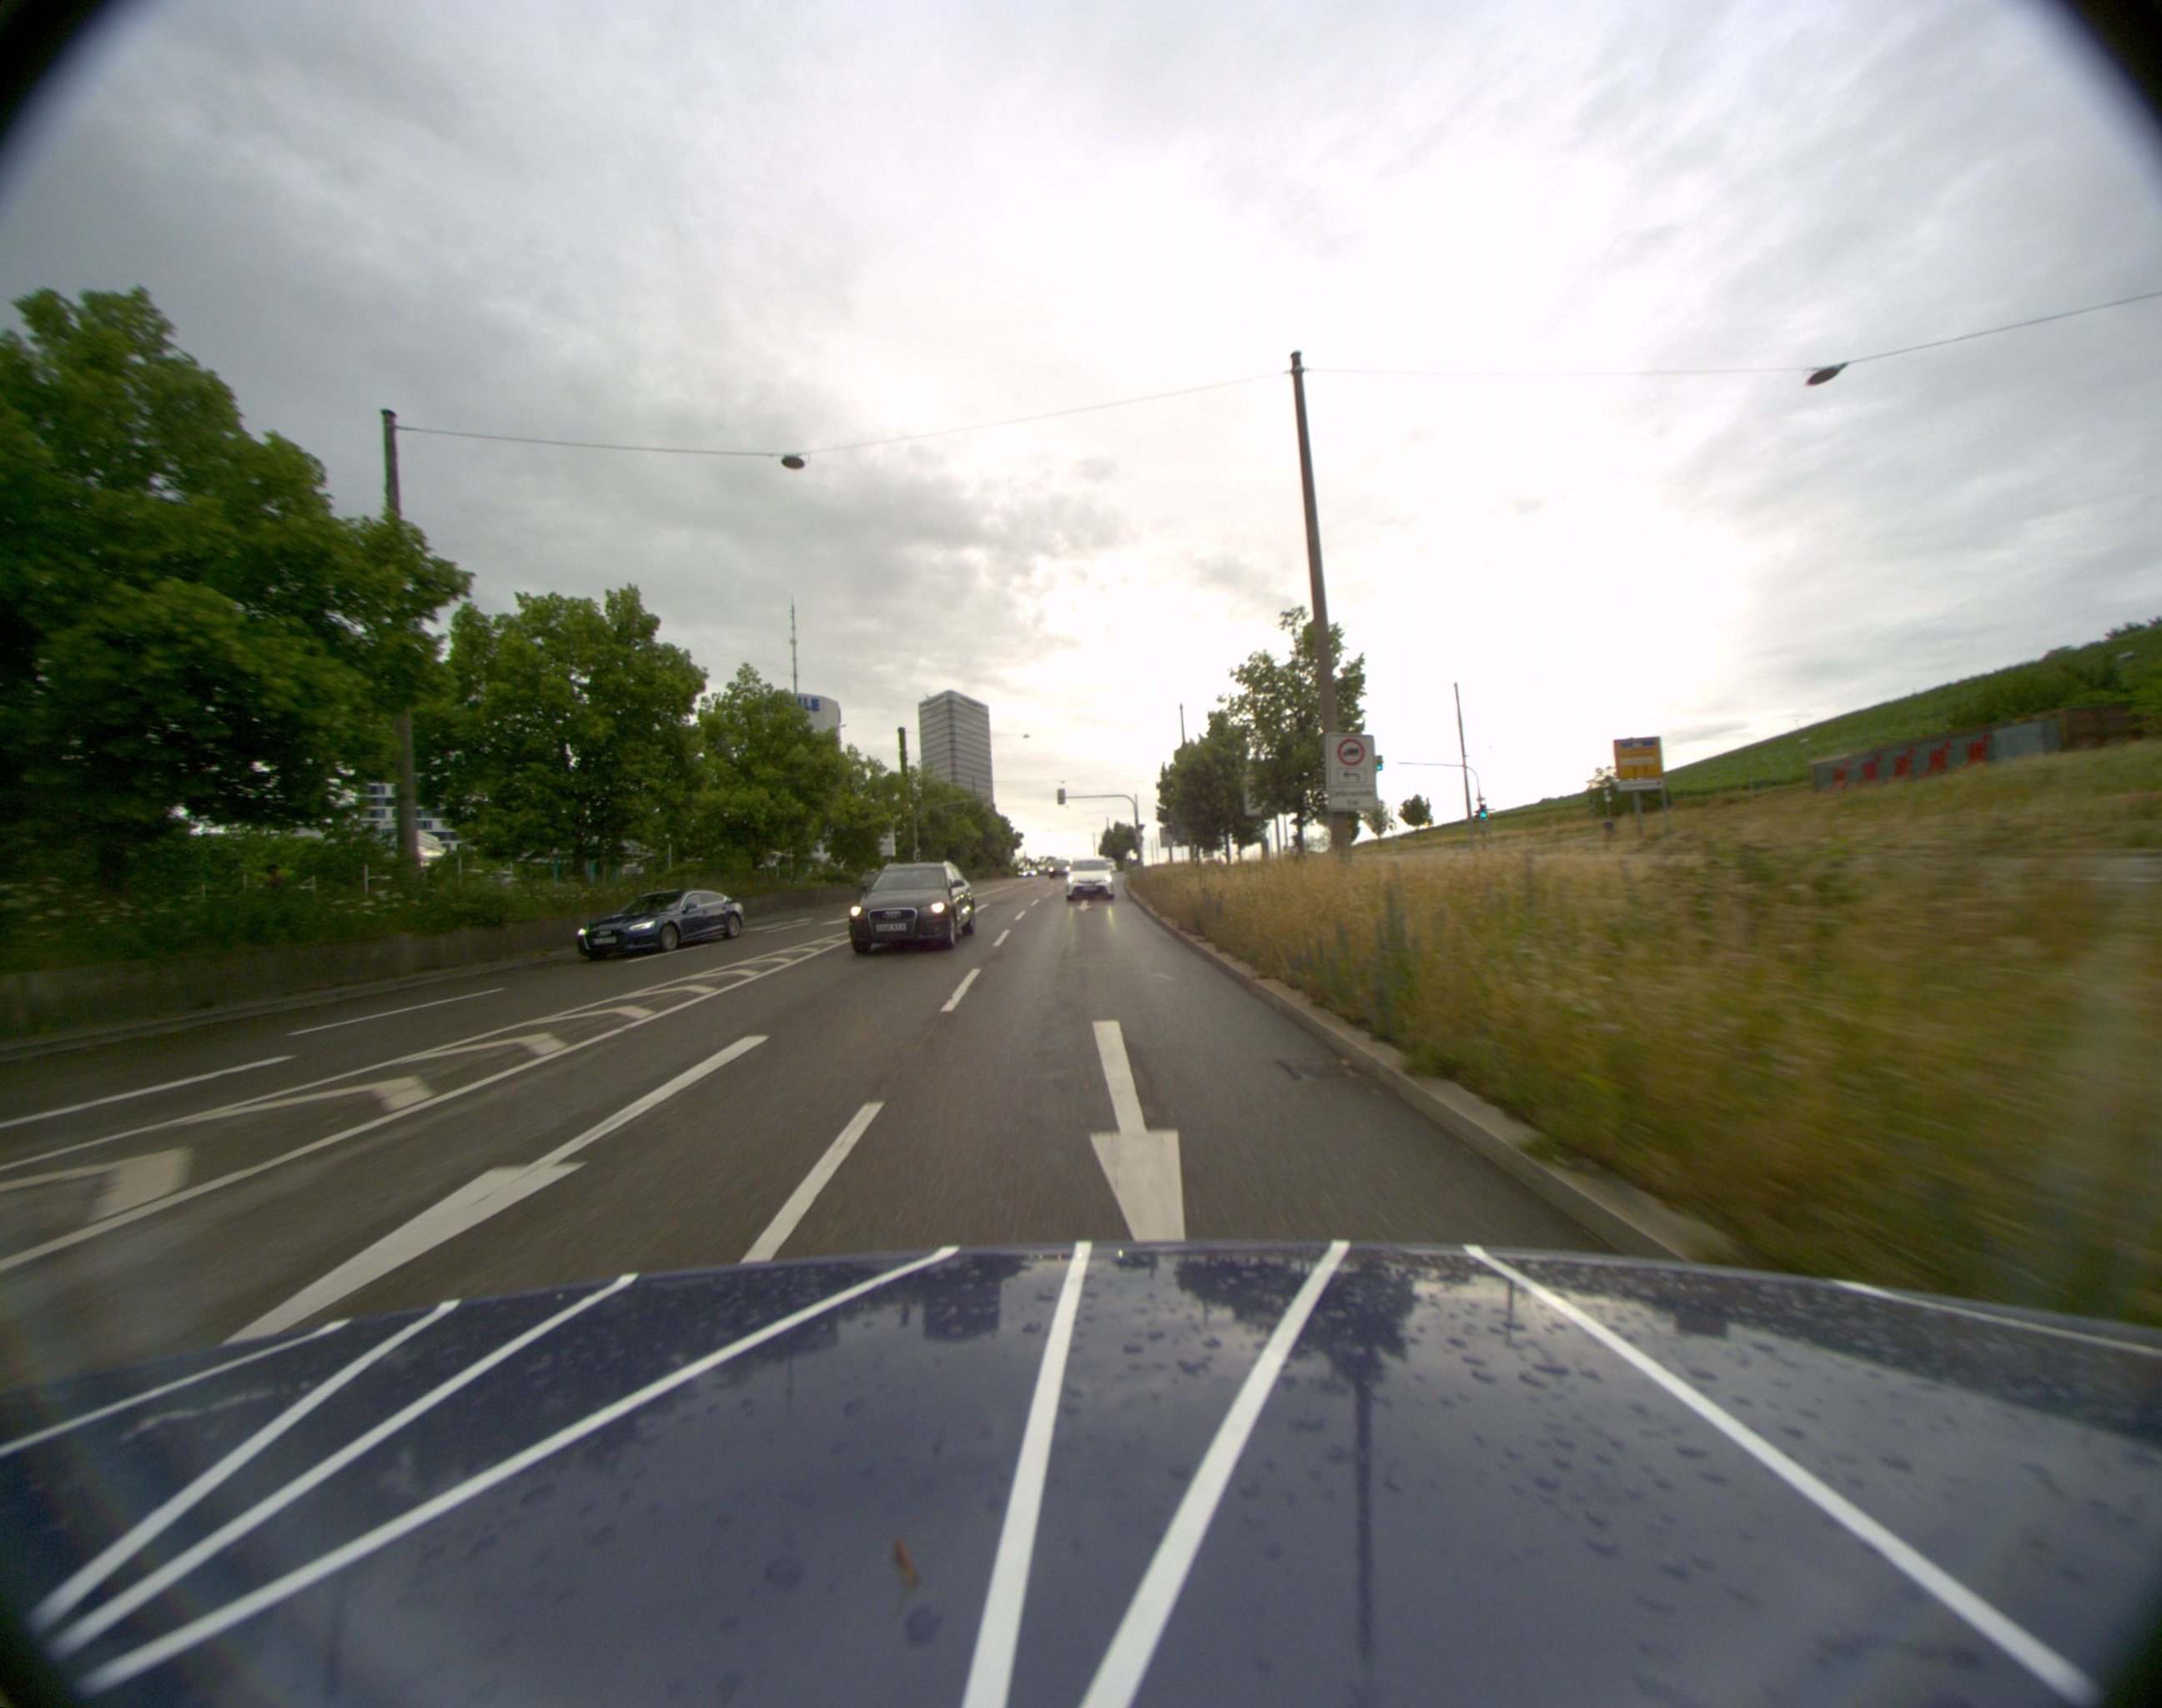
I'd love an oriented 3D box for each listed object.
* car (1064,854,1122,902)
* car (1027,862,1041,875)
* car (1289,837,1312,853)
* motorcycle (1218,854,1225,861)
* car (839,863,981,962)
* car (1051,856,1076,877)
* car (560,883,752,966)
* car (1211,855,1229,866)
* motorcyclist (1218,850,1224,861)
[{"bbox_3d":[0.512,0.817,27.581,1.826,1.574,4.299,-1,0,5],"label":"car"},{"bbox_3d":[-6.287,2.002,101.793,1.636,1.466,3.677,-3,-3,-7],"label":"car"},{"bbox_3d":[21.276,-0.867,73.809,1.541,1.381,3.929,-4,0,8],"label":"car"},{"bbox_3d":[20.965,0.538,113.401,0.618,1.043,2.503,-4,-1,2],"label":"motorcycle"},{"bbox_3d":[-3.162,1.016,14.917,1.730,1.525,4.126,-4,0,1],"label":"car"},{"bbox_3d":[-1.366,1.008,60.580,1.729,1.463,4.265,-3,-1,2],"label":"car"},{"bbox_3d":[-9.852,1.561,18.088,1.876,1.417,4.348,-4,1,3],"label":"car"},{"bbox_3d":[22.686,1.051,124.135,1.539,1.495,3.668,-3,0,32],"label":"car"},{"bbox_3d":[20.958,0.194,113.695,0.583,1.586,0.643,-4,-1,2],"label":"motorcyclist"}]
